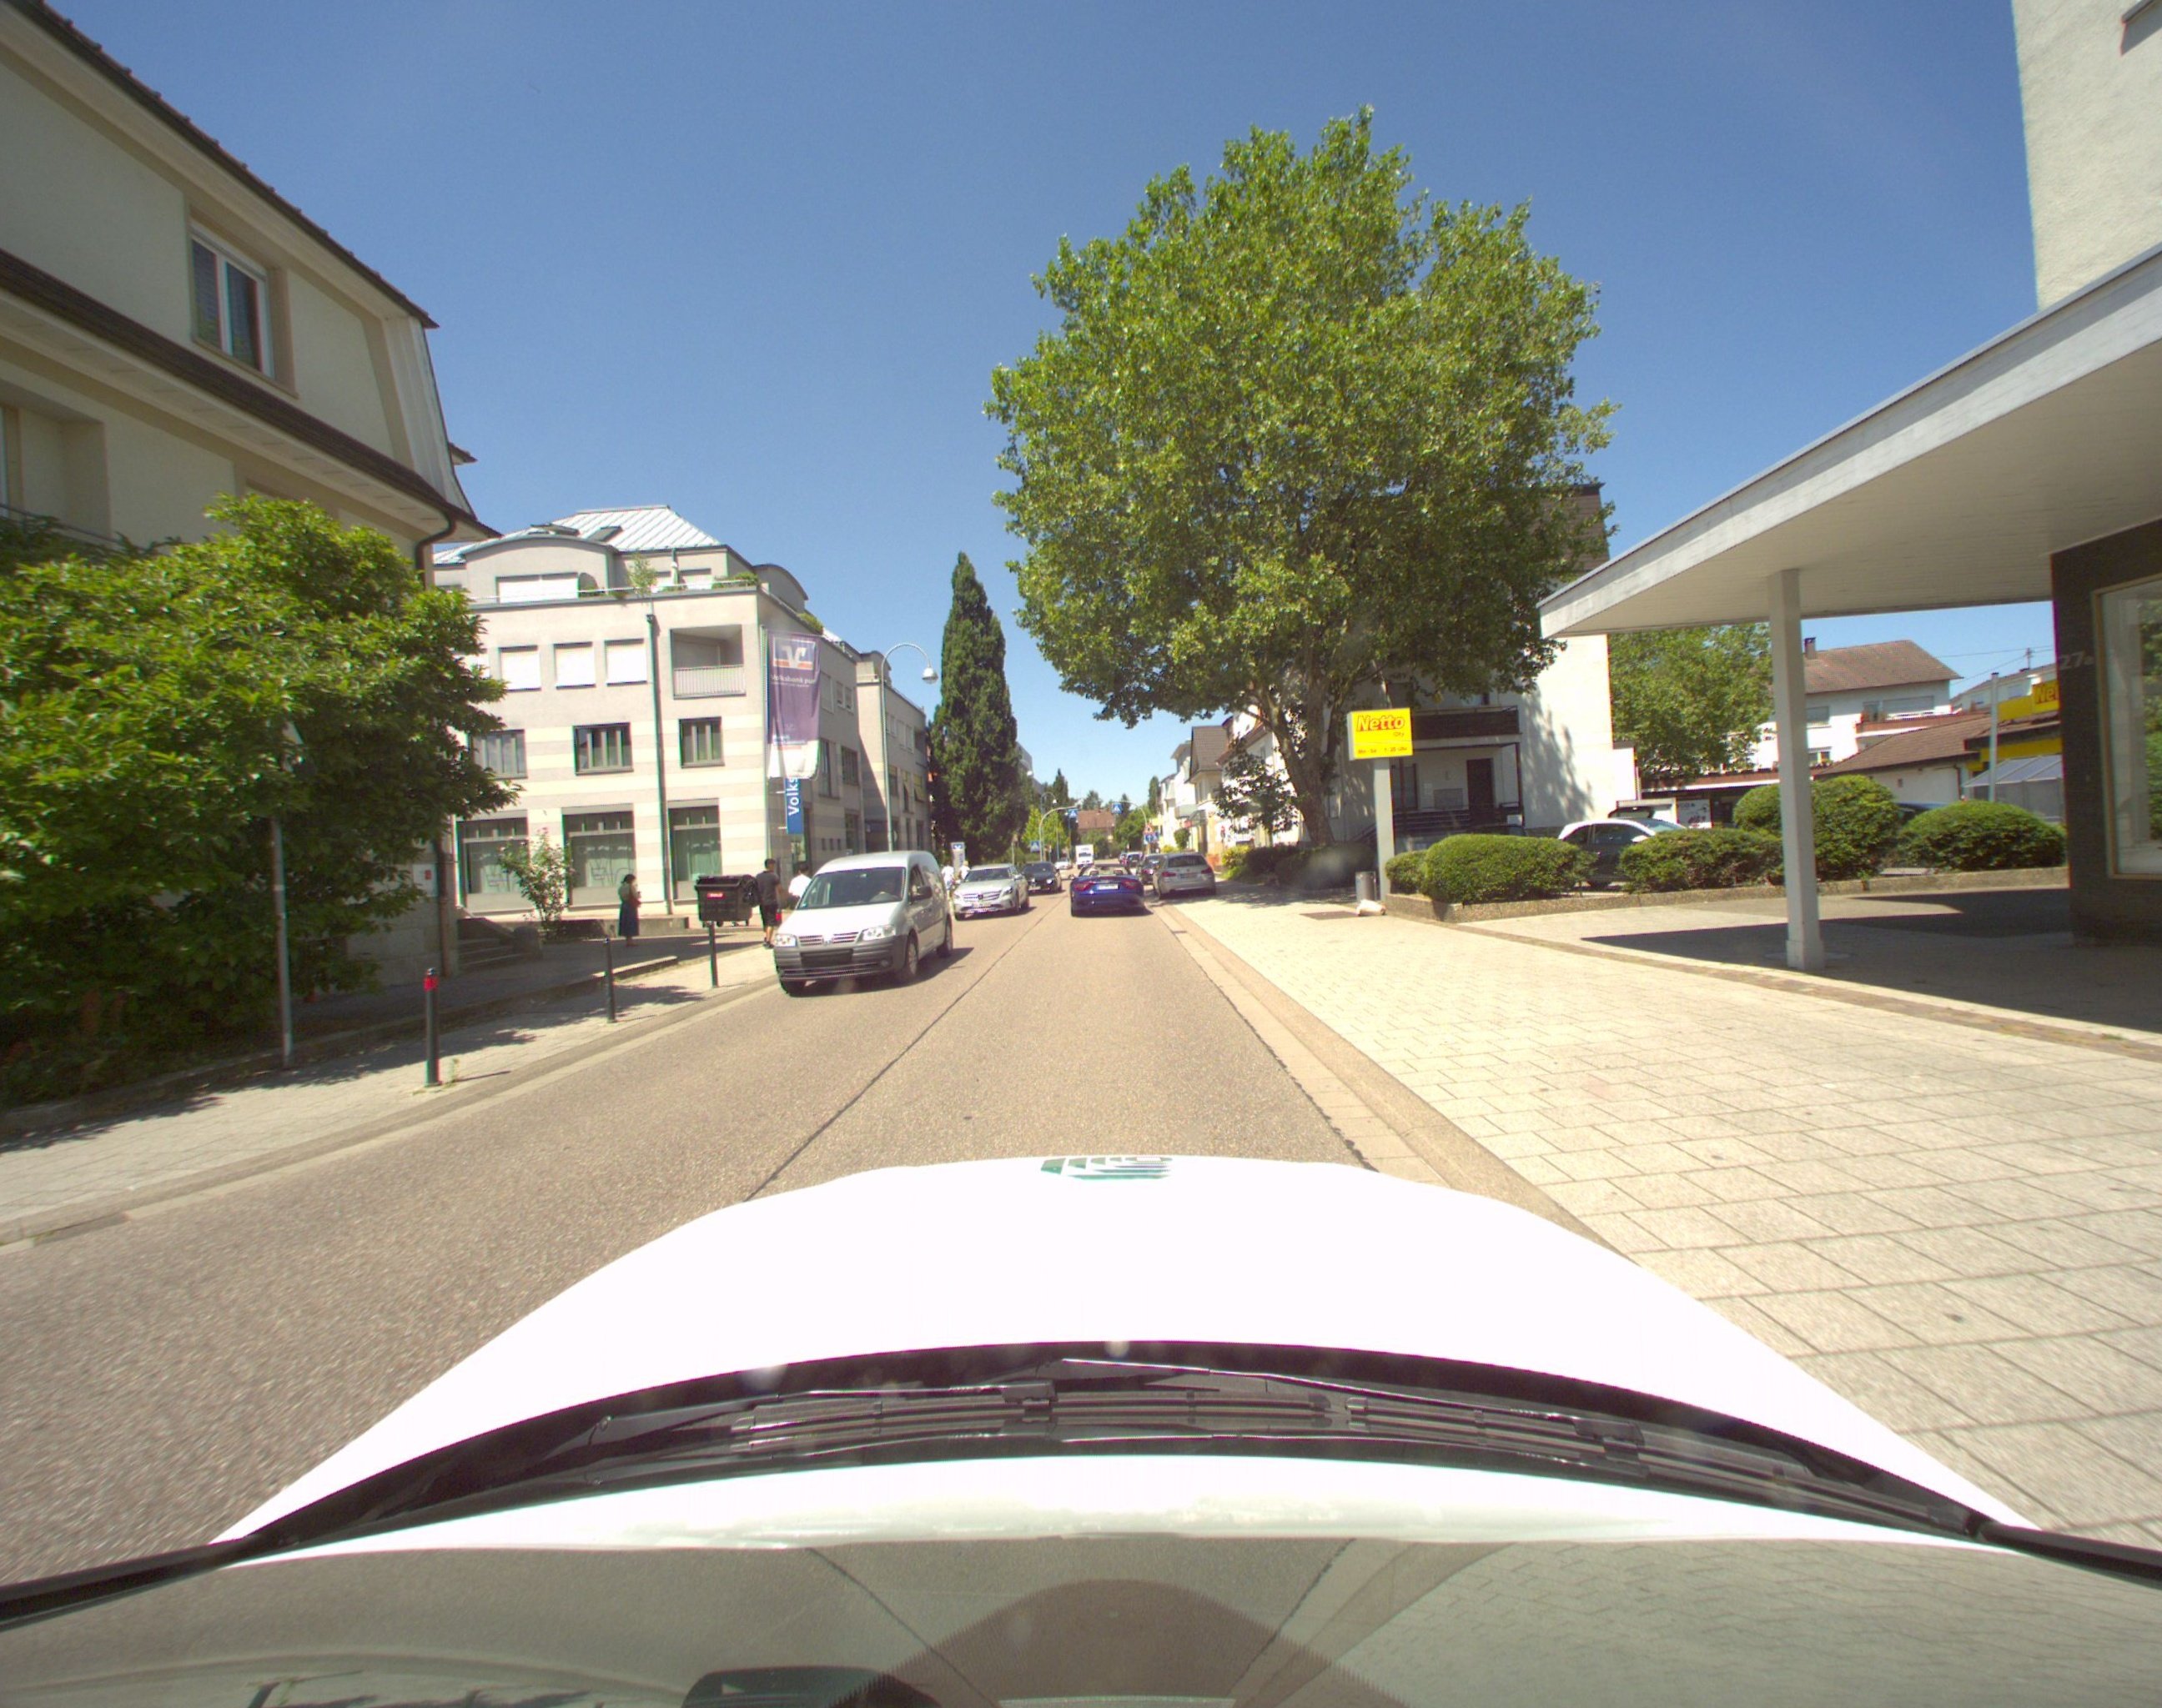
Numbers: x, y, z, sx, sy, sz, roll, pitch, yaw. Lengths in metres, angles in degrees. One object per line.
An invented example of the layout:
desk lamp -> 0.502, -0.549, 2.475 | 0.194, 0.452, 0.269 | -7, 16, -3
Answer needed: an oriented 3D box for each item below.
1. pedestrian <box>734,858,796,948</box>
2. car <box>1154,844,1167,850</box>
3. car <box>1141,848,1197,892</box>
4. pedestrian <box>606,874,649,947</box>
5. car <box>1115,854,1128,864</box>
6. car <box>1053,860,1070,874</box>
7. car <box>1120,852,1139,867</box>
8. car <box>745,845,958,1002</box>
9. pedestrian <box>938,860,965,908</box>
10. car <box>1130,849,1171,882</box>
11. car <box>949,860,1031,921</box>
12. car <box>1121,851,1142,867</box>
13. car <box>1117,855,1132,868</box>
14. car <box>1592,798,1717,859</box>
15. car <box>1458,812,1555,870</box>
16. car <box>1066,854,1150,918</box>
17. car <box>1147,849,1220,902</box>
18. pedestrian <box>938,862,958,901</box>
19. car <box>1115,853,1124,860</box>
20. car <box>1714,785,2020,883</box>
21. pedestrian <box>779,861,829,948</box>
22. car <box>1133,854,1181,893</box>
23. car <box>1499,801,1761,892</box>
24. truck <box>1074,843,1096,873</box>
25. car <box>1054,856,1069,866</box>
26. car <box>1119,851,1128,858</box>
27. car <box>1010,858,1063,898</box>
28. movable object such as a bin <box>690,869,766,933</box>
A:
pedestrian -> -6.372, 0.975, 16.425 | 0.807, 1.749, 0.893 | -4, -3, 45
car -> 20.888, -1.866, 213.668 | 1.933, 1.476, 4.160 | -5, 0, 22
car -> 3.665, 0.611, 34.696 | 1.969, 1.556, 4.351 | -5, 1, 2
pedestrian -> -10.408, 1.279, 18.700 | 0.679, 1.623, 0.712 | -1, -2, -14
car -> 6.402, 0.823, 129.728 | 1.944, 1.476, 4.138 | -5, 0, 1
car -> -2.463, 1.667, 105.326 | 1.944, 1.476, 4.136 | -5, 0, 0
car -> 5.459, 0.611, 91.651 | 1.944, 1.476, 4.138 | -5, 0, 1
car -> -3.105, 0.831, 11.972 | 1.764, 1.767, 4.138 | -5, 0, 1
pedestrian -> -5.392, 1.241, 34.048 | 0.846, 1.915, 0.761 | -5, 2, 0
car -> 3.890, 0.617, 46.227 | 1.969, 1.556, 4.351 | -5, 1, 2
car -> -2.604, 1.017, 24.201 | 1.763, 1.476, 4.138 | -5, 0, 1
car -> 5.211, 0.537, 84.752 | 1.944, 1.476, 4.138 | -5, 0, 1
car -> 6.017, 1.022, 113.011 | 1.944, 1.476, 4.138 | -5, 0, 1
car -> 16.906, -0.733, 24.253 | 1.829, 1.453, 4.019 | -6, -1, 18
car -> 12.800, -0.397, 24.723 | 1.829, 1.453, 4.019 | -6, -1, 18
car -> 0.749, 0.793, 22.174 | 1.968, 1.398, 4.629 | -3, 1, 2
car -> 3.405, 0.661, 27.806 | 1.969, 1.450, 4.351 | -5, 1, 2
pedestrian -> -5.552, 1.135, 34.064 | 0.585, 1.574, 0.781 | -3, 0, 1
car -> 8.201, 0.550, 173.183 | 1.763, 1.476, 4.138 | -3, -1, 1
car -> 15.649, -0.319, 16.509 | 1.852, 1.551, 3.970 | -6, -1, -22
pedestrian -> -5.570, 1.007, 16.436 | 0.629, 1.691, 0.962 | -2, -2, 2
car -> 3.682, 0.910, 40.054 | 1.969, 1.556, 4.351 | -5, 1, 2
car -> 11.031, -0.084, 16.696 | 1.854, 1.453, 3.965 | -6, -1, -26
truck -> 0.519, 0.479, 104.367 | 2.413, 3.481, 7.002 | -5, 0, 0
car -> -3.063, 1.061, 127.658 | 1.943, 1.476, 4.139 | -5, 0, 2
car -> 9.472, 0.165, 182.641 | 1.942, 1.476, 4.141 | -5, 0, 3
car -> -1.938, 1.028, 36.494 | 1.944, 1.476, 4.138 | -5, 0, 1
movable object such as a bin -> -9.464, 1.232, 21.897 | 1.353, 1.494, 1.296 | -5, 2, -2
